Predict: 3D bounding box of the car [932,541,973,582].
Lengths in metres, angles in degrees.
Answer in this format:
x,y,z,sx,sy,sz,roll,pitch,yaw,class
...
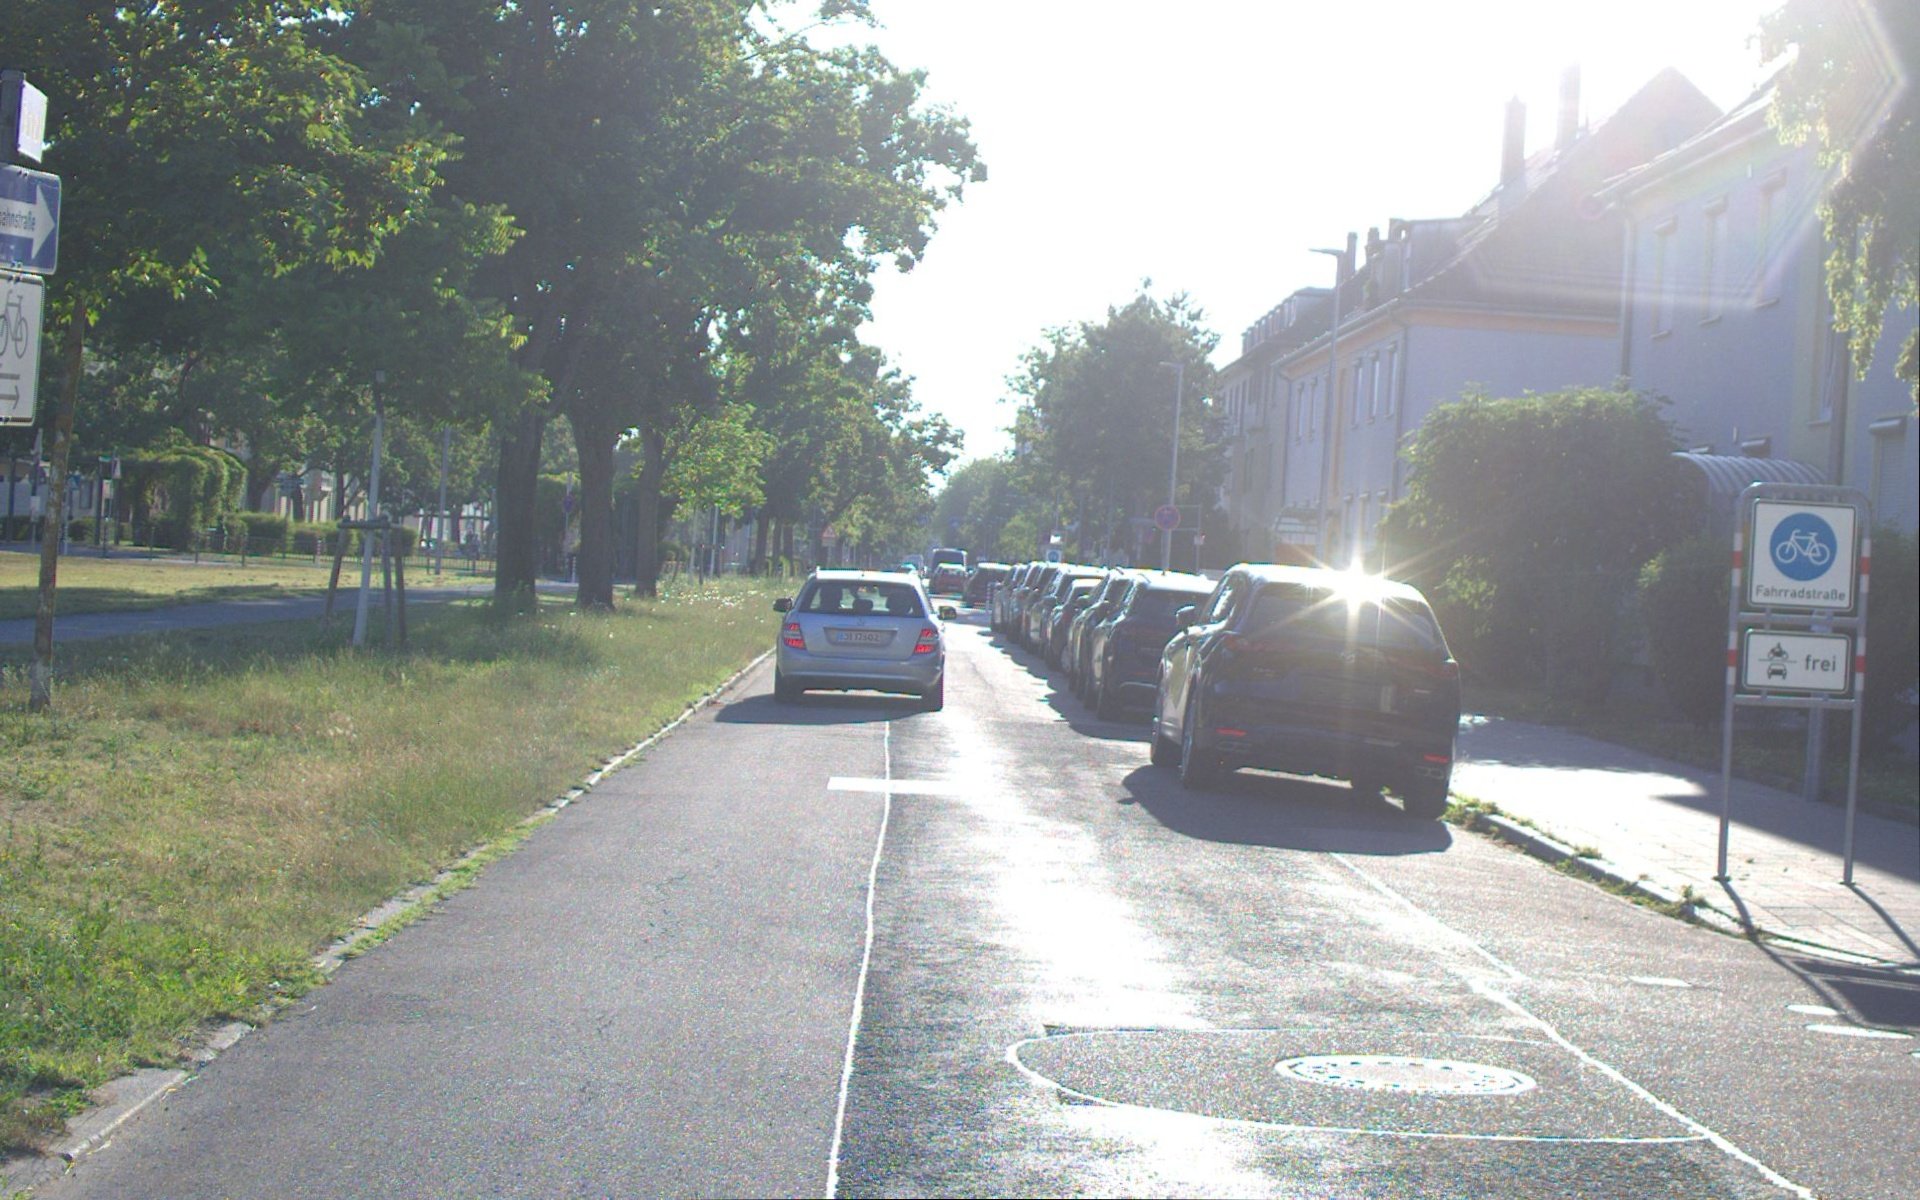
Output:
x,y,z,sx,sy,sz,roll,pitch,yaw,class
-0.399,-2.048,182.563,1.988,2.016,4.000,4,1,0,car

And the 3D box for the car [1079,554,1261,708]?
x,y,z,sx,sy,sz,roll,pitch,yaw,class
2.596,0.341,43.466,1.854,1.651,4.820,5,1,0,car

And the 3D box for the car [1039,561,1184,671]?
x,y,z,sx,sy,sz,roll,pitch,yaw,class
2.323,0.219,53.735,1.993,1.457,4.561,5,1,1,car

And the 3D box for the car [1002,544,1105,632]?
x,y,z,sx,sy,sz,roll,pitch,yaw,class
1.878,-0.265,70.270,1.777,1.637,4.757,3,1,-1,car

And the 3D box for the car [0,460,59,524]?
x,y,z,sx,sy,sz,roll,pitch,yaw,class
-44.191,-5.001,155.369,6.294,2.711,2.003,3,1,-31,car

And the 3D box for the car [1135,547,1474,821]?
x,y,z,sx,sy,sz,roll,pitch,yaw,class
2.516,0.569,26.343,1.832,1.726,5.032,6,0,-1,car

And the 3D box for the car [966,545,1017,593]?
x,y,z,sx,sy,sz,roll,pitch,yaw,class
1.127,-1.104,124.304,1.721,1.591,4.000,3,0,0,car

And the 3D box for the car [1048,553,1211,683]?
x,y,z,sx,sy,sz,roll,pitch,yaw,class
2.364,0.230,48.907,1.728,1.543,4.208,8,0,-3,car

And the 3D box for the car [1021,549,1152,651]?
x,y,z,sx,sy,sz,roll,pitch,yaw,class
2.128,-0.032,59.028,1.724,1.556,4.417,4,1,-4,car

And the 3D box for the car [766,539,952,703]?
x,y,z,sx,sy,sz,roll,pitch,yaw,class
-1.026,0.174,36.713,1.823,1.561,4.000,2,1,0,car

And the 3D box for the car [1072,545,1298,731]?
x,y,z,sx,sy,sz,roll,pitch,yaw,class
2.408,0.357,37.939,1.933,1.714,4.622,6,1,-1,car
